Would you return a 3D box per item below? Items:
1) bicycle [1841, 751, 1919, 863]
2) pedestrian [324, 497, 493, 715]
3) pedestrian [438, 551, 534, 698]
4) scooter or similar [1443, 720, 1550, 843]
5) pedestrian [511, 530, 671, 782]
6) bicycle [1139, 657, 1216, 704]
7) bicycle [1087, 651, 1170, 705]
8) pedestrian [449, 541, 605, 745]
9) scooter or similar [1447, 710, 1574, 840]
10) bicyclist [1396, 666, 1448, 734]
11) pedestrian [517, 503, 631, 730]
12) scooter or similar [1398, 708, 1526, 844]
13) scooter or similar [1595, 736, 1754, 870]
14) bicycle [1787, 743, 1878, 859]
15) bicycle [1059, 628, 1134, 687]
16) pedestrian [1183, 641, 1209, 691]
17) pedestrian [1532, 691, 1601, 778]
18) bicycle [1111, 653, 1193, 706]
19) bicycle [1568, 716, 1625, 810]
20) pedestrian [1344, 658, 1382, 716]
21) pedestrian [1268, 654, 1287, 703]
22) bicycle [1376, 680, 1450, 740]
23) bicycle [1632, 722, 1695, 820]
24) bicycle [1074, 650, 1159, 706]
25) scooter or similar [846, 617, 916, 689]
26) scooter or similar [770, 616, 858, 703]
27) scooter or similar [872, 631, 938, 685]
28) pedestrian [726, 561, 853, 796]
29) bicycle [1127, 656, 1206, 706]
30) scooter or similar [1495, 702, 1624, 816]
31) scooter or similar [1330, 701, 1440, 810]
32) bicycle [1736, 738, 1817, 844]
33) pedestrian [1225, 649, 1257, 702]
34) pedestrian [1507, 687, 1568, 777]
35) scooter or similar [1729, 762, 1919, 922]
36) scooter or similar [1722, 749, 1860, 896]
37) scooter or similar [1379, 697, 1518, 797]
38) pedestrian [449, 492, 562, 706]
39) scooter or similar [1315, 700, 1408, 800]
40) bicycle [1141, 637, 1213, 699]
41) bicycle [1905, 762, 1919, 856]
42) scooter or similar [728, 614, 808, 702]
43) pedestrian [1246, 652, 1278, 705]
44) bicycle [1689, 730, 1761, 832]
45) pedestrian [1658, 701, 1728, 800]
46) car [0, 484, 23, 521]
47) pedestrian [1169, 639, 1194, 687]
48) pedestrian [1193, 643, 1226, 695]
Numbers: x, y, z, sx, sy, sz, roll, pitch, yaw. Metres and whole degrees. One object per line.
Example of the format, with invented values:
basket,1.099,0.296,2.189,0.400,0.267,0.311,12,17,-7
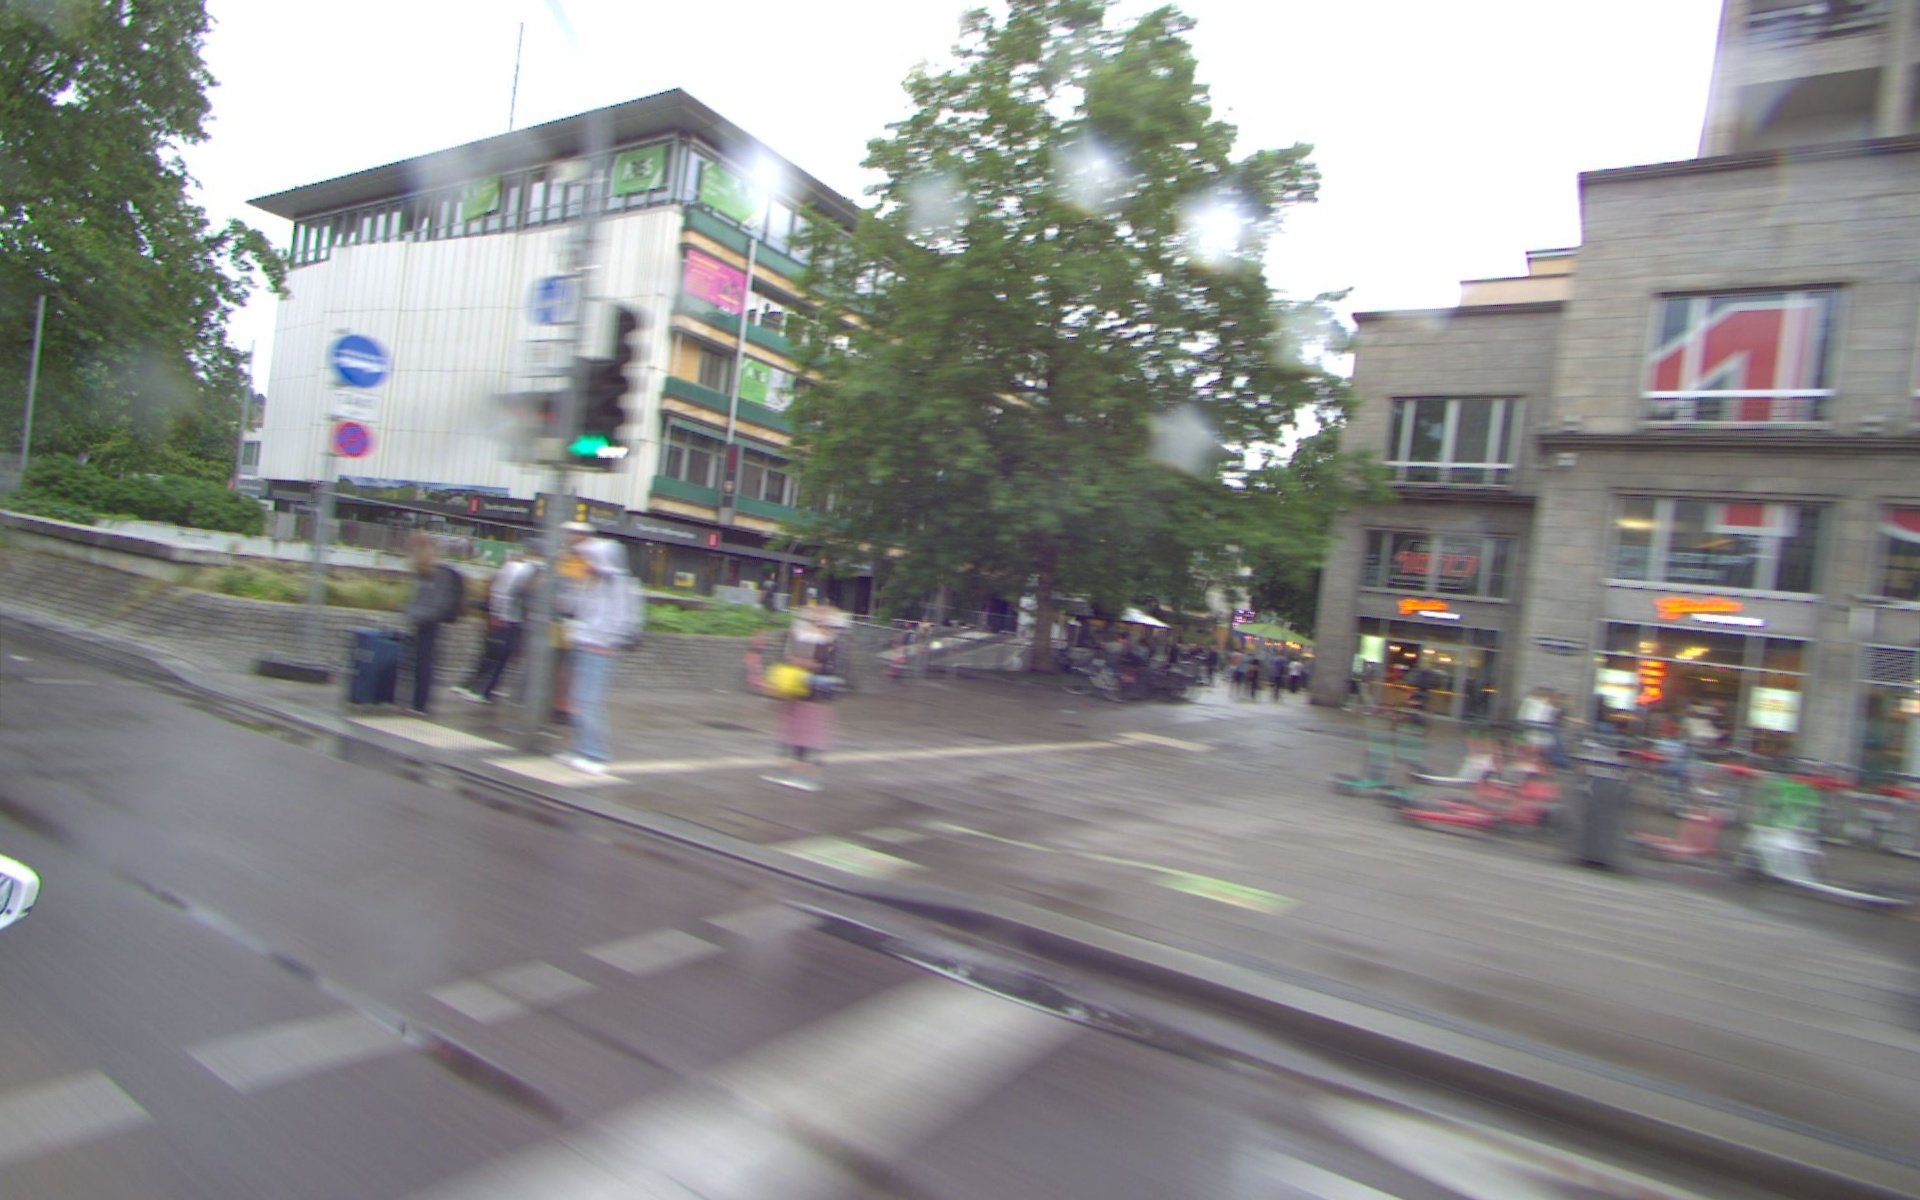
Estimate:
bicycle,13.068,2.874,14.166,0.608,1.253,1.990,7,1,33
pedestrian,-5.131,0.058,9.396,0.932,1.861,0.789,7,0,18
pedestrian,-5.384,0.277,11.434,0.654,1.573,0.626,8,-2,-44
scooter or similar,6.120,2.043,11.483,0.941,1.221,0.305,6,-1,34
pedestrian,-2.893,0.431,7.938,0.696,1.827,0.748,7,0,18
bicycle,6.069,2.242,28.158,1.967,1.039,0.615,7,1,40
bicycle,4.343,2.006,25.994,1.995,1.116,0.615,7,2,40
pedestrian,-3.942,0.393,9.194,0.746,1.711,0.876,7,0,32
scooter or similar,6.429,2.014,11.764,1.154,1.296,0.369,6,-1,34
bicyclist,11.550,2.493,25.190,0.640,1.573,0.906,6,0,-8
pedestrian,-3.878,0.166,10.126,0.655,2.172,0.556,7,0,18
scooter or similar,5.386,1.865,10.808,1.081,1.251,0.324,6,-1,34
scooter or similar,7.746,2.195,10.925,1.348,1.245,0.568,8,-1,-14
bicycle,12.528,2.838,14.501,0.608,1.352,1.990,7,1,33
bicycle,4.320,1.817,31.923,2.100,1.581,0.792,7,0,40
pedestrian,10.283,2.884,43.745,0.835,2.037,0.987,7,-1,16
pedestrian,11.915,2.634,19.777,0.662,1.542,0.779,6,1,-20
bicycle,5.066,2.084,26.589,1.995,1.116,0.615,7,2,40
bicycle,10.244,2.566,16.162,0.608,1.253,1.990,7,1,33
pedestrian,13.070,2.812,32.620,0.853,1.786,0.703,6,1,38
pedestrian,11.119,2.747,35.226,0.434,1.658,0.460,7,-1,13
bicycle,11.486,2.773,25.589,0.650,1.270,2.011,7,-1,-7
bicycle,10.873,2.599,15.591,0.608,1.253,1.990,7,1,33
bicycle,3.901,1.932,25.176,1.967,1.133,0.615,7,2,40
scooter or similar,-1.676,1.126,21.326,1.292,1.347,0.410,7,-1,20
scooter or similar,-2.440,0.992,16.799,1.292,1.273,0.374,7,-1,20
scooter or similar,-1.245,1.289,22.617,1.292,1.048,0.477,7,1,20
pedestrian,-1.420,0.642,8.452,0.743,1.827,0.541,7,0,5
bicycle,5.647,2.204,27.542,1.967,1.069,0.615,7,1,40
scooter or similar,9.005,2.358,15.203,0.613,1.444,1.709,7,-2,-8
scooter or similar,5.528,2.025,13.061,1.350,1.264,0.435,8,-1,-27
bicycle,12.000,2.758,14.830,0.608,1.253,1.990,7,1,33
pedestrian,9.444,2.536,33.831,0.699,1.687,0.771,7,-1,3
pedestrian,11.074,2.526,19.299,0.637,1.622,0.613,5,1,-20
scooter or similar,8.065,2.198,9.297,0.434,1.142,1.355,10,-3,-31
scooter or similar,8.732,2.297,10.629,0.581,1.271,1.308,7,-1,18
scooter or similar,7.606,2.274,15.710,1.718,1.275,0.622,7,-1,5
pedestrian,-4.869,-0.009,10.772,0.706,2.172,0.712,6,1,-44
scooter or similar,5.497,2.054,13.757,1.085,1.231,0.473,8,-1,-27
bicycle,6.765,2.109,31.473,1.967,1.653,0.615,7,0,40
bicycle,13.607,2.961,13.705,0.608,1.253,1.990,7,1,33
scooter or similar,-3.019,0.903,15.778,1.139,1.231,0.352,6,-2,31
pedestrian,10.194,2.641,34.009,0.699,1.687,0.771,7,-1,3
bicycle,11.499,2.681,15.169,0.608,1.253,1.990,7,1,33
pedestrian,13.676,2.795,18.771,0.876,1.694,0.792,6,-2,40
car,-57.893,-5.991,59.028,2.100,2.036,4.639,8,-2,-14
pedestrian,9.999,2.852,45.412,0.835,2.037,0.987,7,-1,16
pedestrian,9.734,2.694,39.225,0.822,1.885,0.820,6,-1,33
